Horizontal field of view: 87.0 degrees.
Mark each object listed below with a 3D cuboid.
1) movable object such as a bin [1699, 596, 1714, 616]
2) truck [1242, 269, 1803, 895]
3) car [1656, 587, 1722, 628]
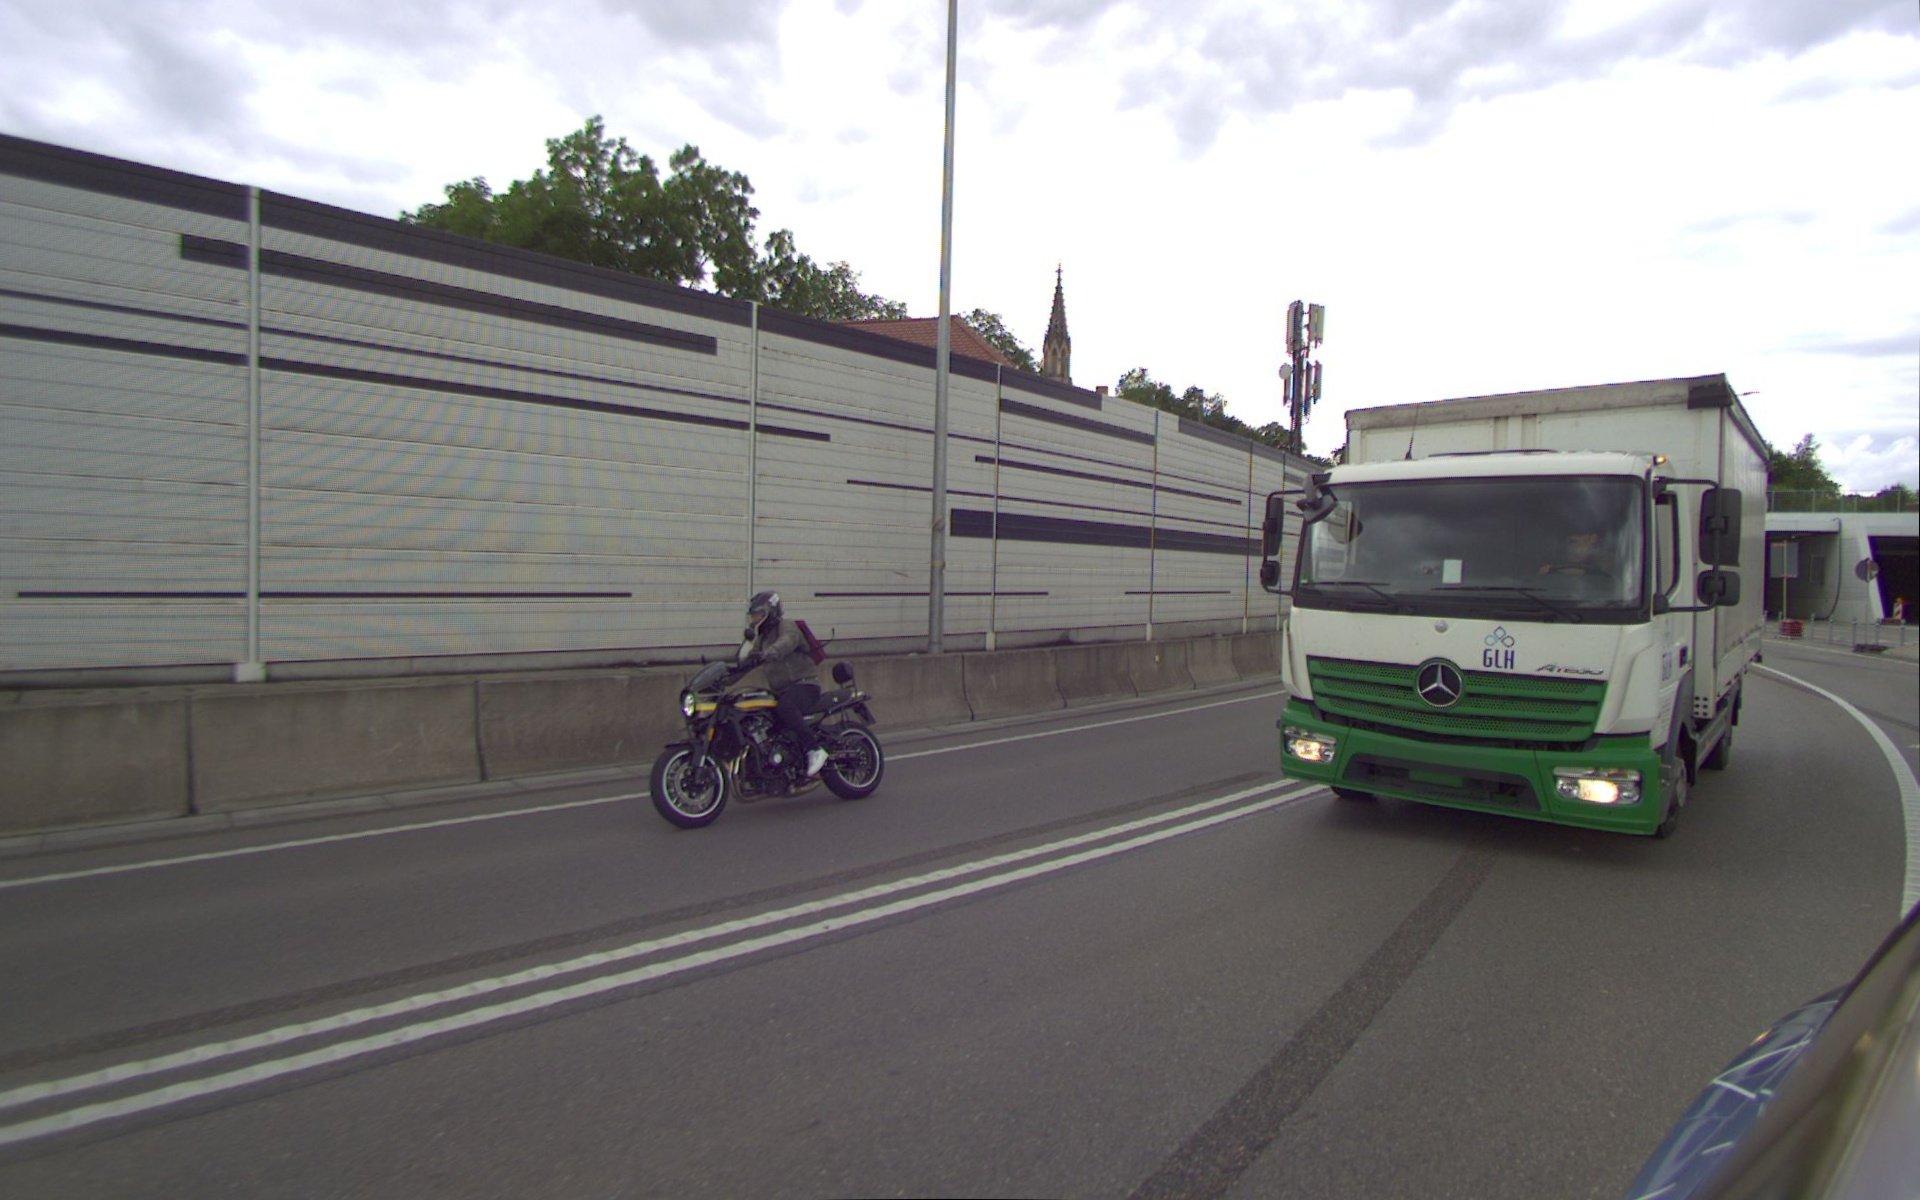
[{"bbox_3d":[38.214,0.311,51.811,0.484,1.029,0.421,0,1,21],"label":"movable object such as a bin"},{"bbox_3d":[5.443,-0.178,8.911,2.629,3.279,7.302,3,3,42],"label":"truck"},{"bbox_3d":[29.530,0.263,41.101,1.708,1.482,3.958,3,2,30],"label":"car"}]
